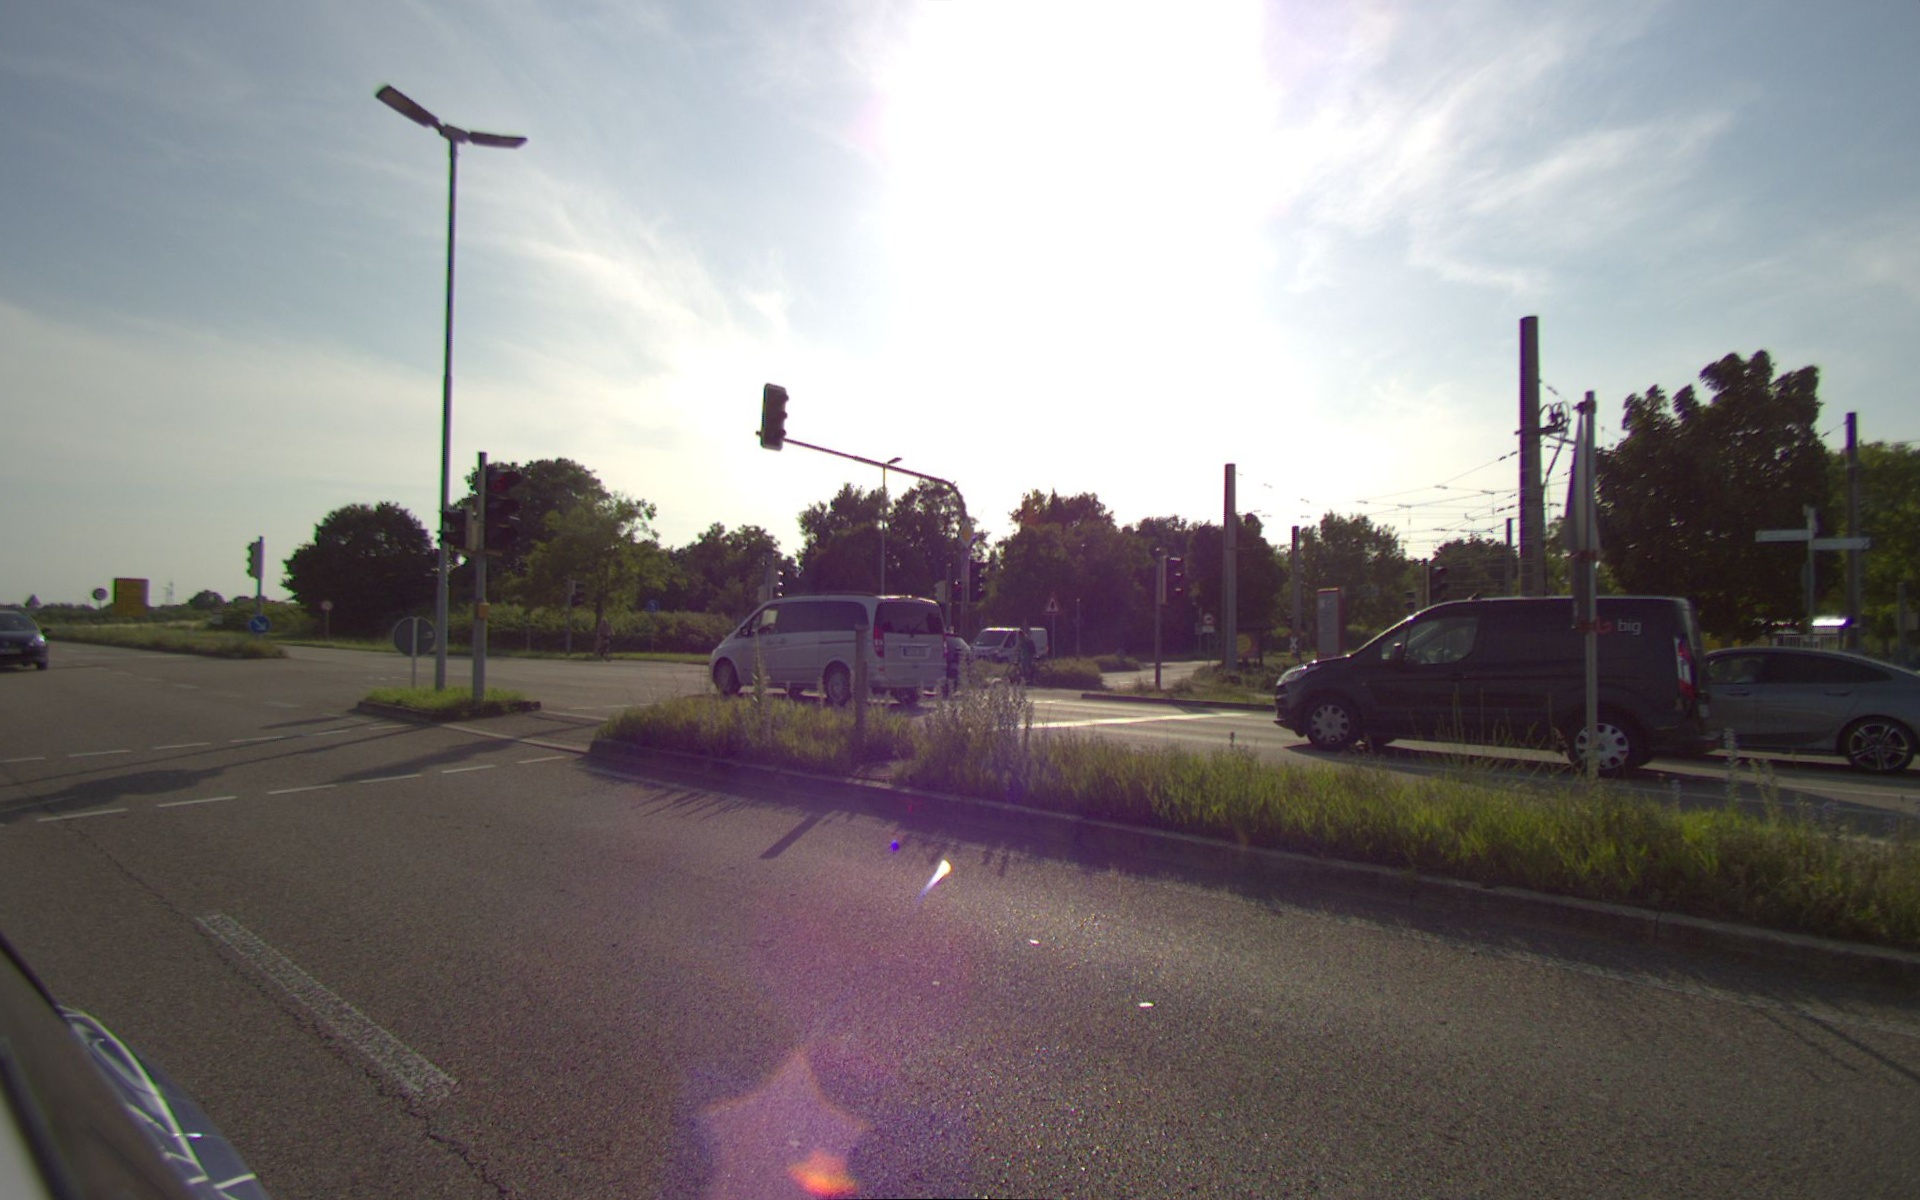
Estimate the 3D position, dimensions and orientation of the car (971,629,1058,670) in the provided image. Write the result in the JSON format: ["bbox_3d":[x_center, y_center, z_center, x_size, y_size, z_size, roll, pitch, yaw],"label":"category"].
[{"bbox_3d":[2.863,2.491,52.075,2.250,1.901,4.787,-1,0,36],"label":"car"}]

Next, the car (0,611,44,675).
[{"bbox_3d":[-24.307,1.038,25.326,3.998,1.520,1.615,-1,0,42],"label":"car"}]

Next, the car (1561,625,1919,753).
[{"bbox_3d":[10.039,1.029,12.376,4.372,1.355,1.838,-1,-4,42],"label":"car"}]

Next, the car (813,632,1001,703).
[{"bbox_3d":[-1.218,1.438,22.197,3.959,1.355,1.838,-1,-4,41],"label":"car"}]

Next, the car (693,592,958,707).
[{"bbox_3d":[-2.597,0.871,18.656,5.077,1.843,1.972,-1,-4,42],"label":"car"}]

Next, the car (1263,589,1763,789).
[{"bbox_3d":[5.870,0.856,11.105,4.527,1.759,1.838,-1,-4,42],"label":"car"}]
